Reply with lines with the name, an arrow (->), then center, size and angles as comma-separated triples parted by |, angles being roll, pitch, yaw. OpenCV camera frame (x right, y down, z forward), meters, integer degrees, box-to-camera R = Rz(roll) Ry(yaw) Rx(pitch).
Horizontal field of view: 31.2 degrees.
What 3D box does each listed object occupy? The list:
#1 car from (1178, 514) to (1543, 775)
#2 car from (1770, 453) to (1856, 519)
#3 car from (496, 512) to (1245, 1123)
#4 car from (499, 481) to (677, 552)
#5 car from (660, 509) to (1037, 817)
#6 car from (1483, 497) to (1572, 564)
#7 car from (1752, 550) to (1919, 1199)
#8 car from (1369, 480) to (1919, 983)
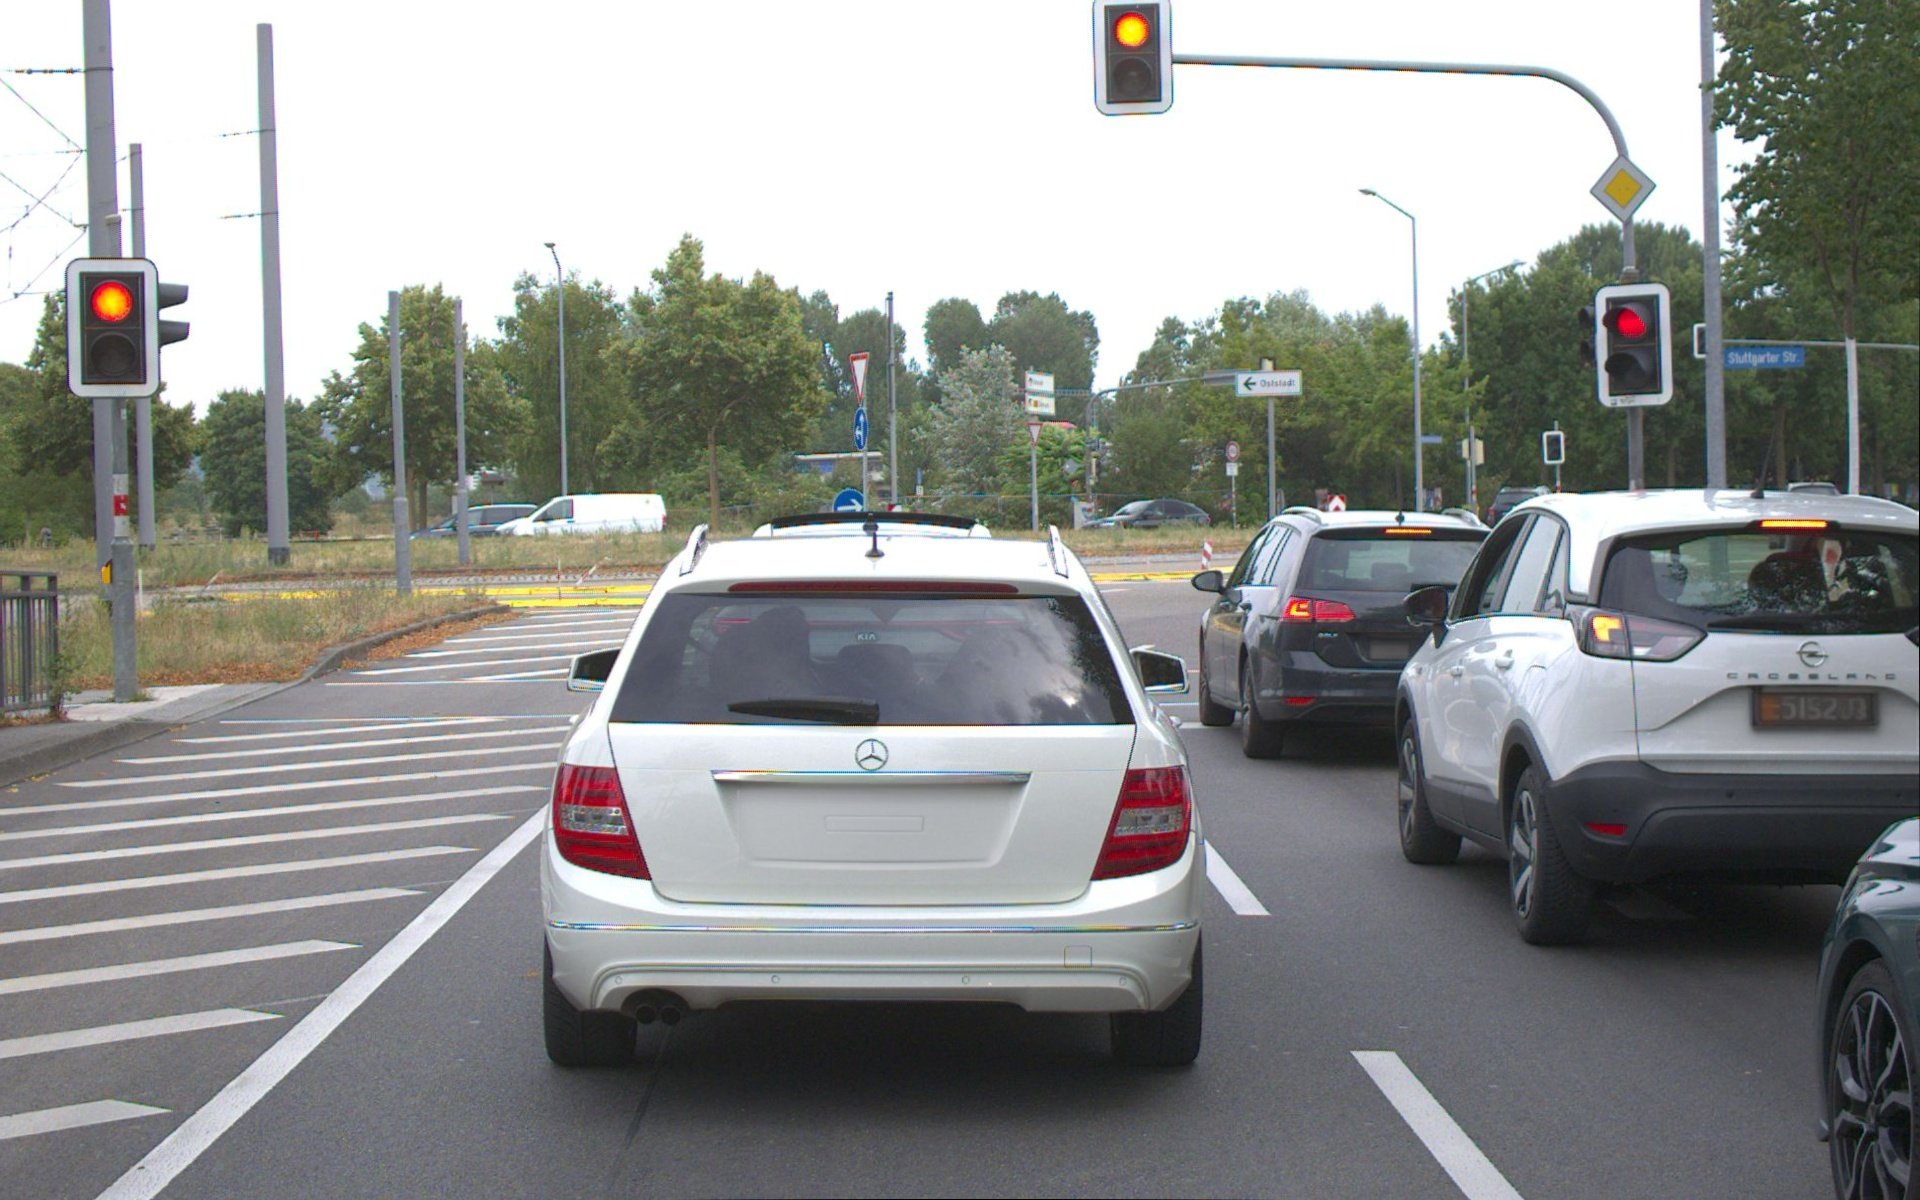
car -> 2.368, 0.204, 21.206 | 1.624, 1.443, 3.911 | 0, 2, -2
car -> 22.073, -2.953, 89.106 | 1.784, 1.630, 4.401 | -1, 2, 9
car -> -0.293, 0.474, 10.148 | 1.773, 1.443, 3.911 | 0, 2, -2
car -> -10.961, -2.462, 101.200 | 4.982, 2.006, 2.001 | -1, 2, -12
car -> -0.610, 0.250, 18.219 | 1.773, 1.443, 3.911 | 0, 2, -2
car -> 15.862, -1.921, 95.990 | 1.995, 1.784, 3.997 | 2, 1, 15
car -> 2.742, 0.672, 5.299 | 1.787, 1.427, 4.312 | 0, 2, -4
car -> 2.717, 0.371, 13.172 | 1.787, 1.619, 3.911 | -1, 2, 0
